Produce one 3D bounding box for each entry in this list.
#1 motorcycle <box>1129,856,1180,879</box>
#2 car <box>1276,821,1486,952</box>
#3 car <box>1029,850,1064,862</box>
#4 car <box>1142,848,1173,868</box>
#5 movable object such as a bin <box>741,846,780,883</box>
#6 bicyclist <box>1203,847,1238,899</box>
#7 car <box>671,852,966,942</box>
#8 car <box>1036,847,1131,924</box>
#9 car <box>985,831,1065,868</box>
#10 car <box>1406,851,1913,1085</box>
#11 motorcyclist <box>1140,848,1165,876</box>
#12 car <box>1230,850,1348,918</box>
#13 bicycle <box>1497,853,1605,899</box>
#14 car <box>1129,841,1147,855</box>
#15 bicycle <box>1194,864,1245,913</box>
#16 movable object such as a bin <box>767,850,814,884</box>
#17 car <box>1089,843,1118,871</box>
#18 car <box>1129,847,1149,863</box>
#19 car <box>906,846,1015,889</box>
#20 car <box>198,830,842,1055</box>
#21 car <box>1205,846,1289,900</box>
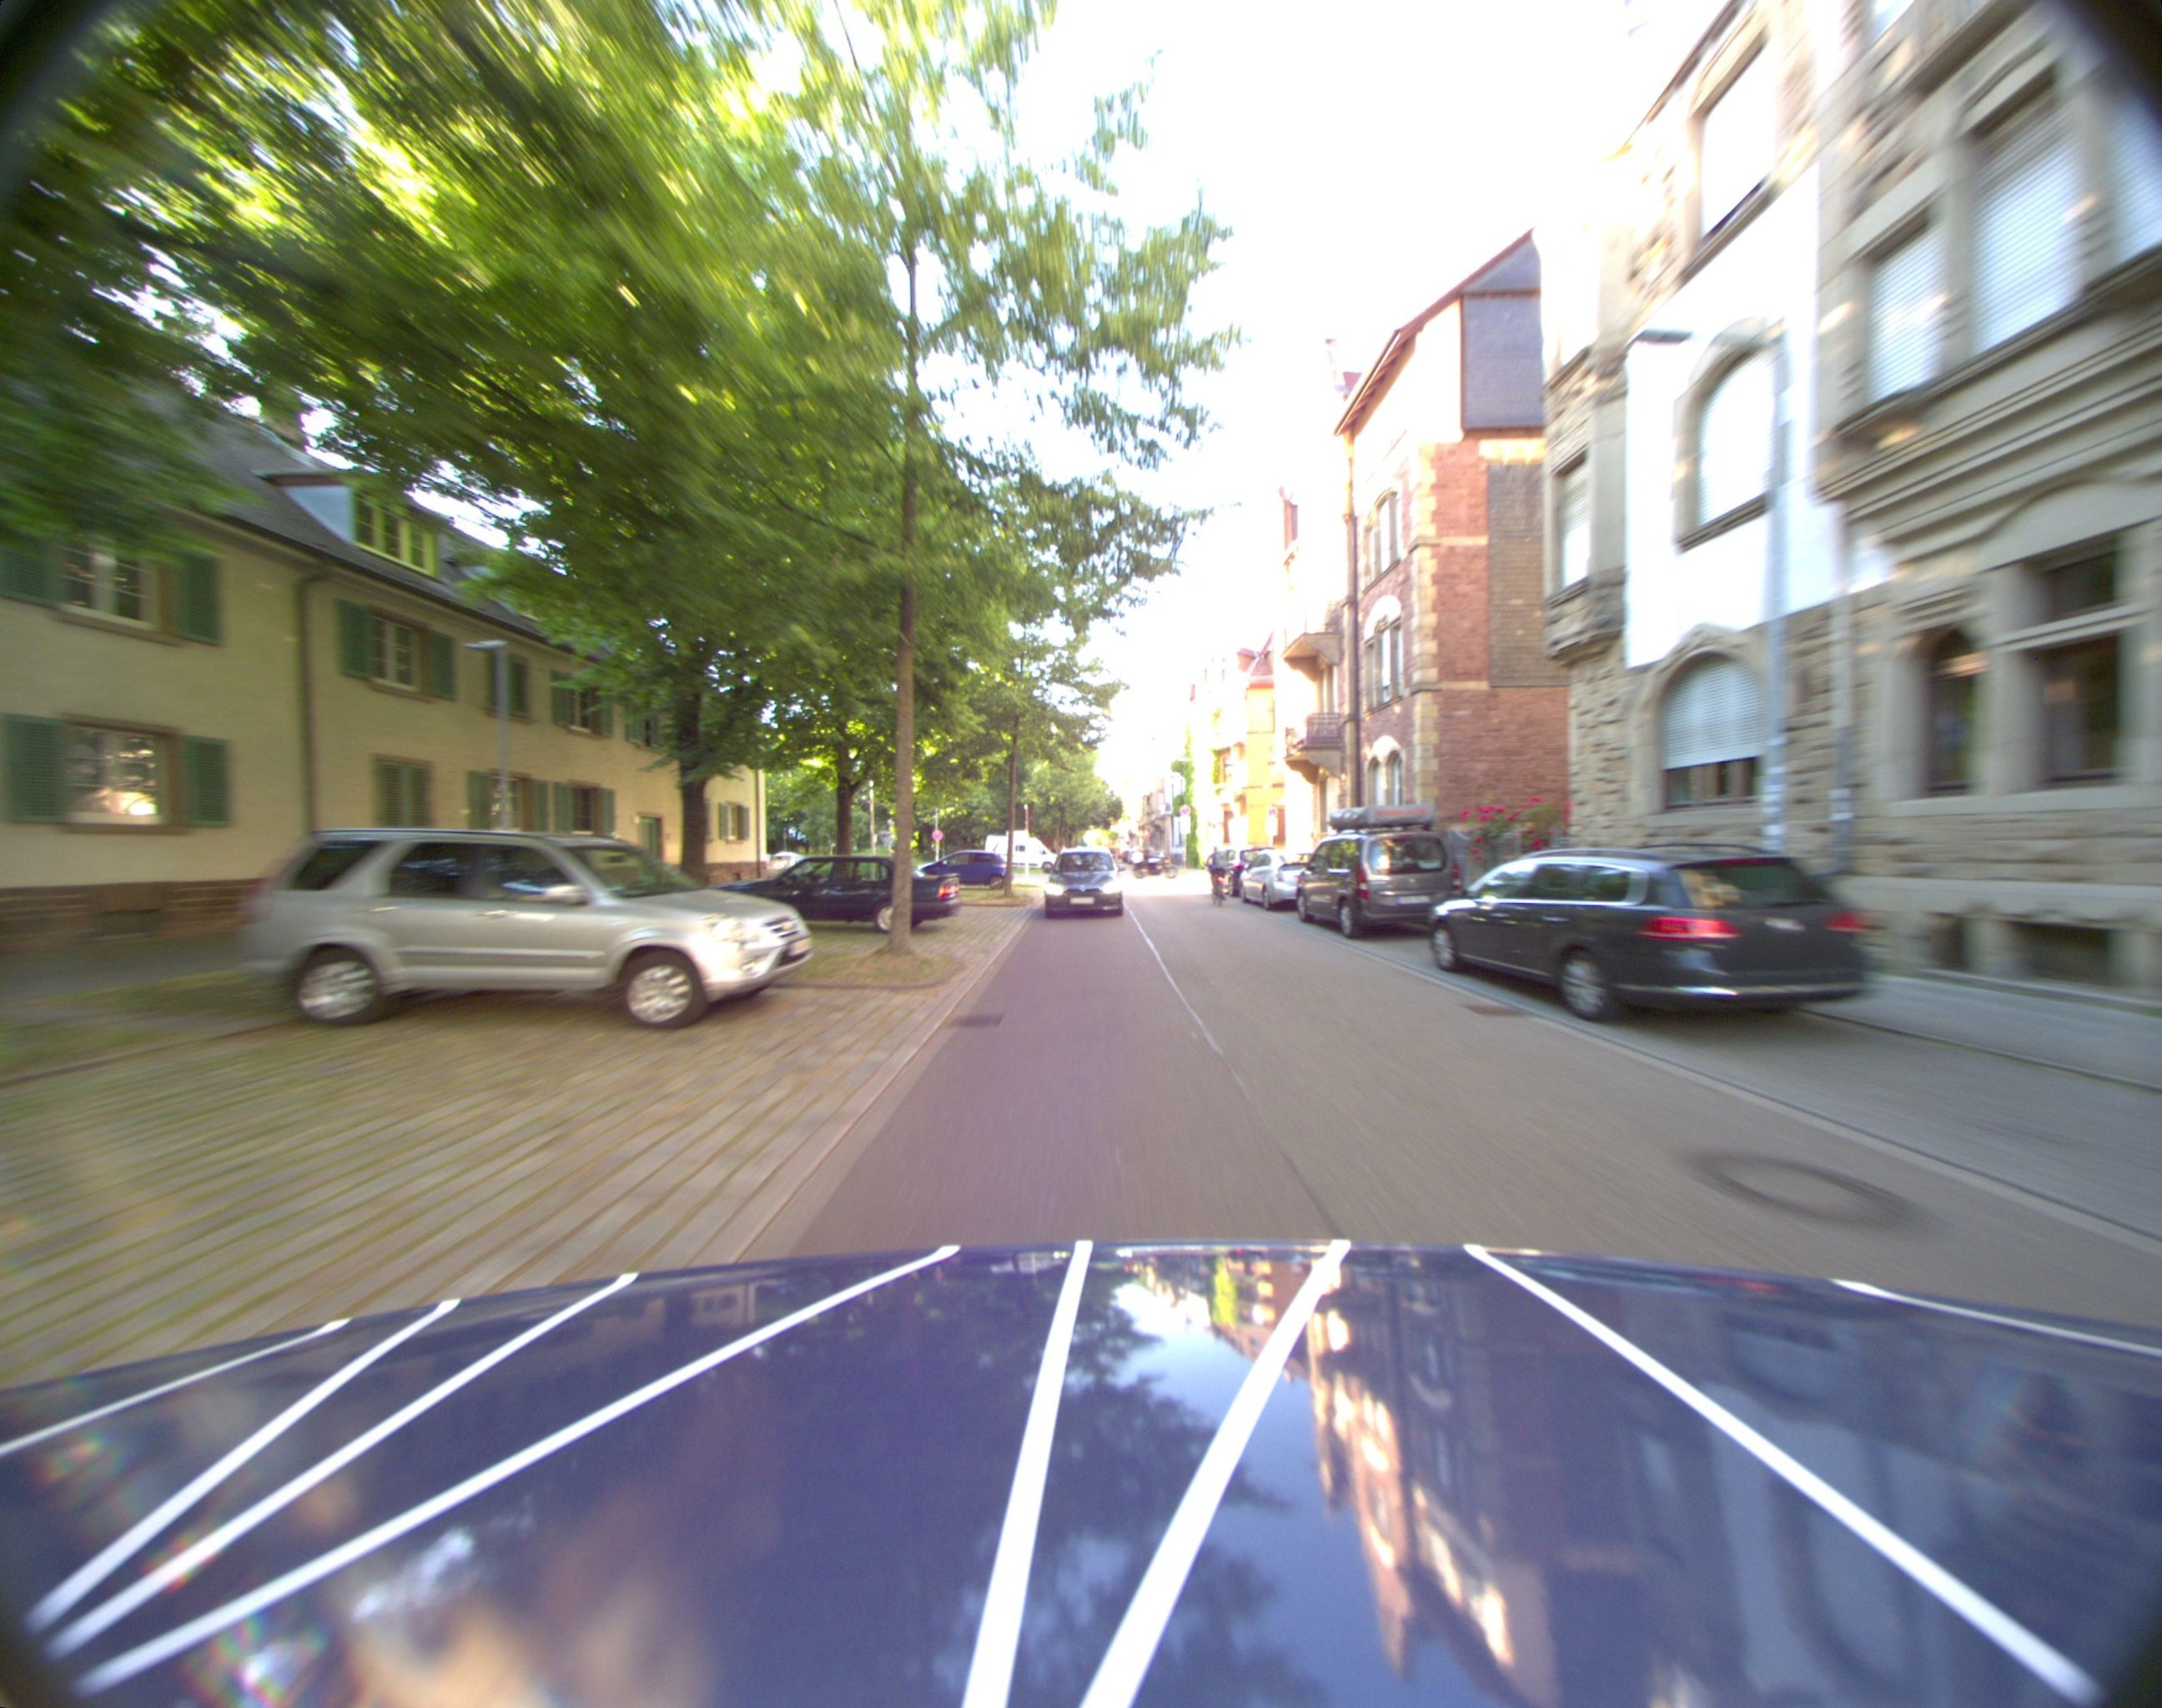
[{"bbox_3d":[3.699,0.665,38.054,2.516,1.095,0.987,-1,1,7],"label":"motorcycle"},{"bbox_3d":[5.236,0.493,14.043,1.974,1.963,4.497,-2,1,-1],"label":"car"},{"bbox_3d":[-3.797,0.169,84.553,3.878,1.249,1.785,-1,2,-1],"label":"car"},{"bbox_3d":[5.990,0.285,60.143,1.881,1.397,4.925,-2,0,0],"label":"car"},{"bbox_3d":[-16.239,0.544,38.546,1.384,1.817,1.151,0,2,8],"label":"movable object such as a bin"},{"bbox_3d":[3.712,0.493,20.274,0.667,1.337,1.060,1,0,-3],"label":"bicyclist"},{"bbox_3d":[-4.789,0.767,14.433,4.906,1.434,1.941,1,2,-1],"label":"car"},{"bbox_3d":[-0.075,0.663,18.952,1.890,1.613,4.615,-1,1,-6],"label":"car"},{"bbox_3d":[-4.025,-0.345,55.430,5.627,2.600,2.238,-1,2,-1],"label":"car"},{"bbox_3d":[5.159,0.822,7.830,1.733,1.565,4.707,-1,2,2],"label":"car"},{"bbox_3d":[3.599,0.396,38.053,1.226,1.333,0.987,-1,1,7],"label":"motorcyclist"},{"bbox_3d":[5.241,0.686,19.807,1.734,1.490,4.454,-2,0,-1],"label":"car"},{"bbox_3d":[11.378,0.516,18.409,2.358,1.073,0.610,0,1,-7],"label":"bicycle"},{"bbox_3d":[6.754,-0.708,90.541,1.998,1.616,4.143,-1,2,2],"label":"car"},{"bbox_3d":[3.684,0.889,20.420,0.755,1.171,2.620,1,0,-3],"label":"bicycle"},{"bbox_3d":[-14.657,0.637,38.422,1.638,1.648,1.592,0,2,8],"label":"movable object such as a bin"},{"bbox_3d":[1.365,0.162,47.211,1.648,1.581,4.019,-2,0,0],"label":"car"},{"bbox_3d":[6.178,0.069,81.715,1.867,1.538,3.792,-1,2,0],"label":"car"},{"bbox_3d":[-4.668,0.506,29.912,3.997,1.547,1.999,1,2,-1],"label":"car"},{"bbox_3d":[-4.797,0.720,7.079,4.487,1.660,1.942,2,0,-1],"label":"car"},{"bbox_3d":[5.423,0.564,25.385,1.734,1.612,4.258,-2,0,-1],"label":"car"}]
